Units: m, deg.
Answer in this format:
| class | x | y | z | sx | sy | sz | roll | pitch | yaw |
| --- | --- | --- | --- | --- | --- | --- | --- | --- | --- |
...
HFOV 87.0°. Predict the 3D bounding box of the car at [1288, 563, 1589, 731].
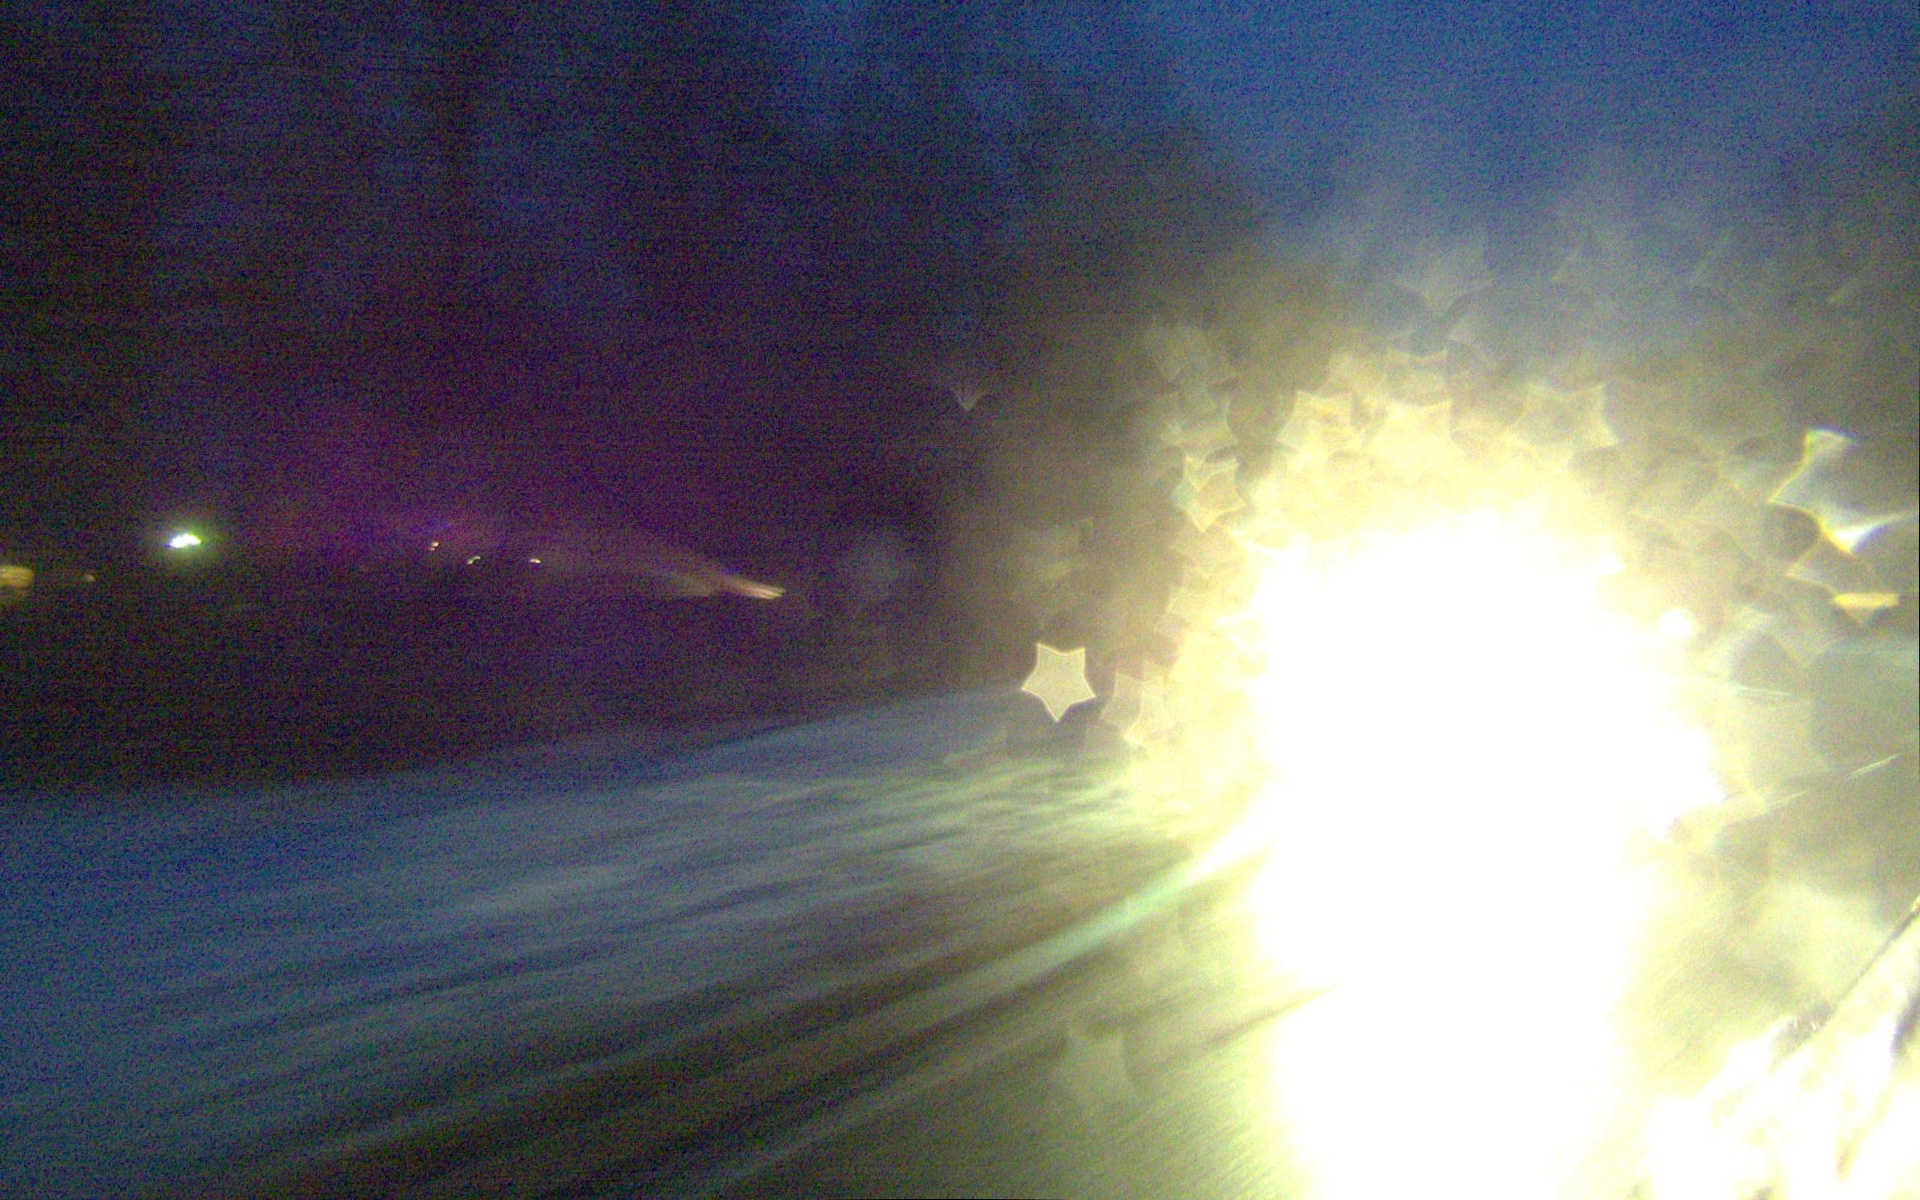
| class | x | y | z | sx | sy | sz | roll | pitch | yaw |
| --- | --- | --- | --- | --- | --- | --- | --- | --- | --- |
| car | 5.741 | 0.484 | 12.924 | 1.927 | 1.712 | 4.767 | -1 | 0 | 6 |
